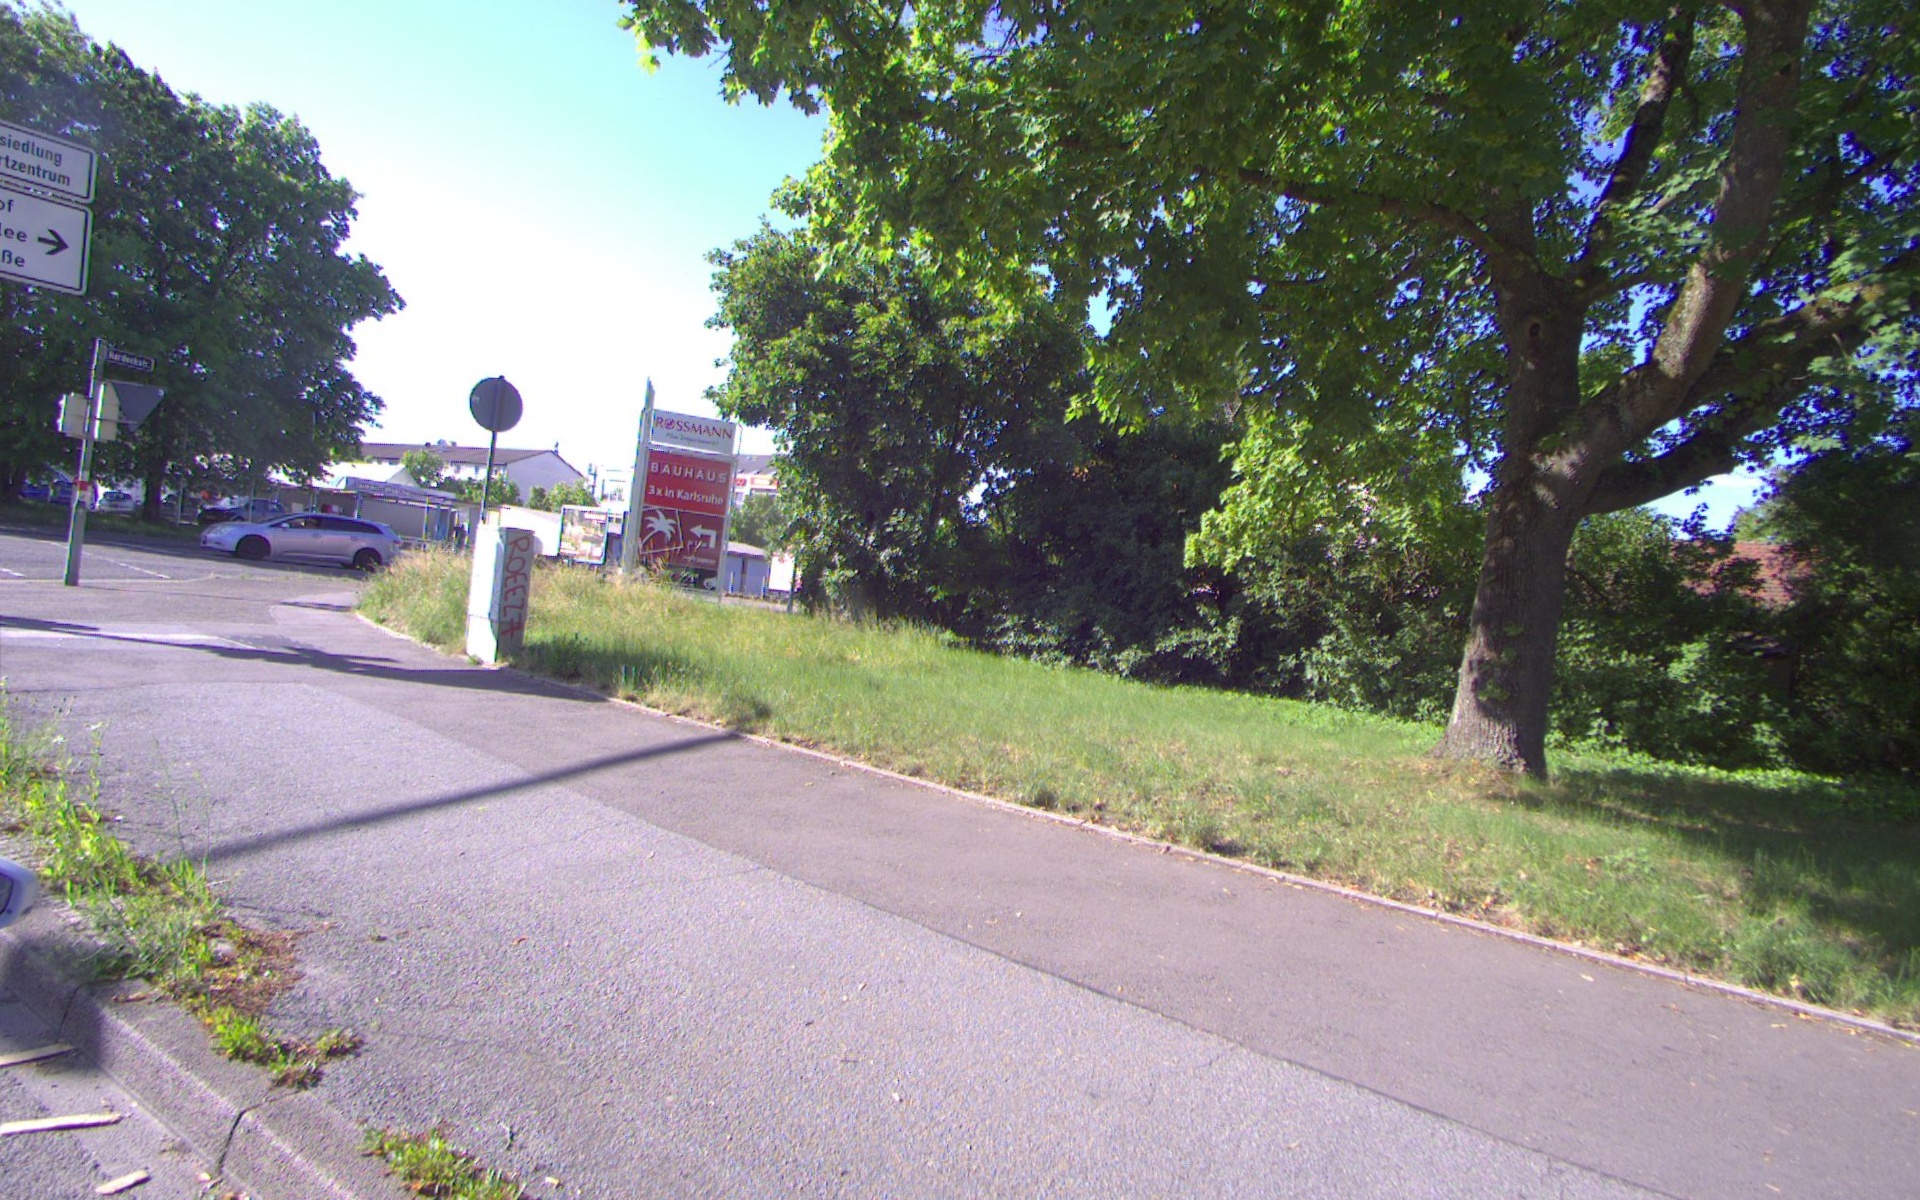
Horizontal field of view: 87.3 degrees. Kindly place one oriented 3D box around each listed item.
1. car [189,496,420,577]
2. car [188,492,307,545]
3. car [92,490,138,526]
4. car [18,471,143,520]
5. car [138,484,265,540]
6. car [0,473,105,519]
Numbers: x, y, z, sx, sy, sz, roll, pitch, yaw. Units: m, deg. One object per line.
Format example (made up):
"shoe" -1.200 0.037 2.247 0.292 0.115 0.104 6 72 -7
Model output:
"car" -18.149 -1.720 28.053 1.973 1.504 4.994 7 0 43
"car" -30.292 -3.424 42.914 1.712 1.701 4.001 7 0 9
"car" -47.283 -5.147 56.262 1.734 1.701 3.951 6 1 -43
"car" -39.176 -4.624 44.929 1.712 1.537 3.902 7 0 9
"car" -32.331 -3.714 43.045 1.962 1.772 4.001 7 0 9
"car" -41.986 -4.765 46.153 1.712 1.537 3.902 7 0 9
